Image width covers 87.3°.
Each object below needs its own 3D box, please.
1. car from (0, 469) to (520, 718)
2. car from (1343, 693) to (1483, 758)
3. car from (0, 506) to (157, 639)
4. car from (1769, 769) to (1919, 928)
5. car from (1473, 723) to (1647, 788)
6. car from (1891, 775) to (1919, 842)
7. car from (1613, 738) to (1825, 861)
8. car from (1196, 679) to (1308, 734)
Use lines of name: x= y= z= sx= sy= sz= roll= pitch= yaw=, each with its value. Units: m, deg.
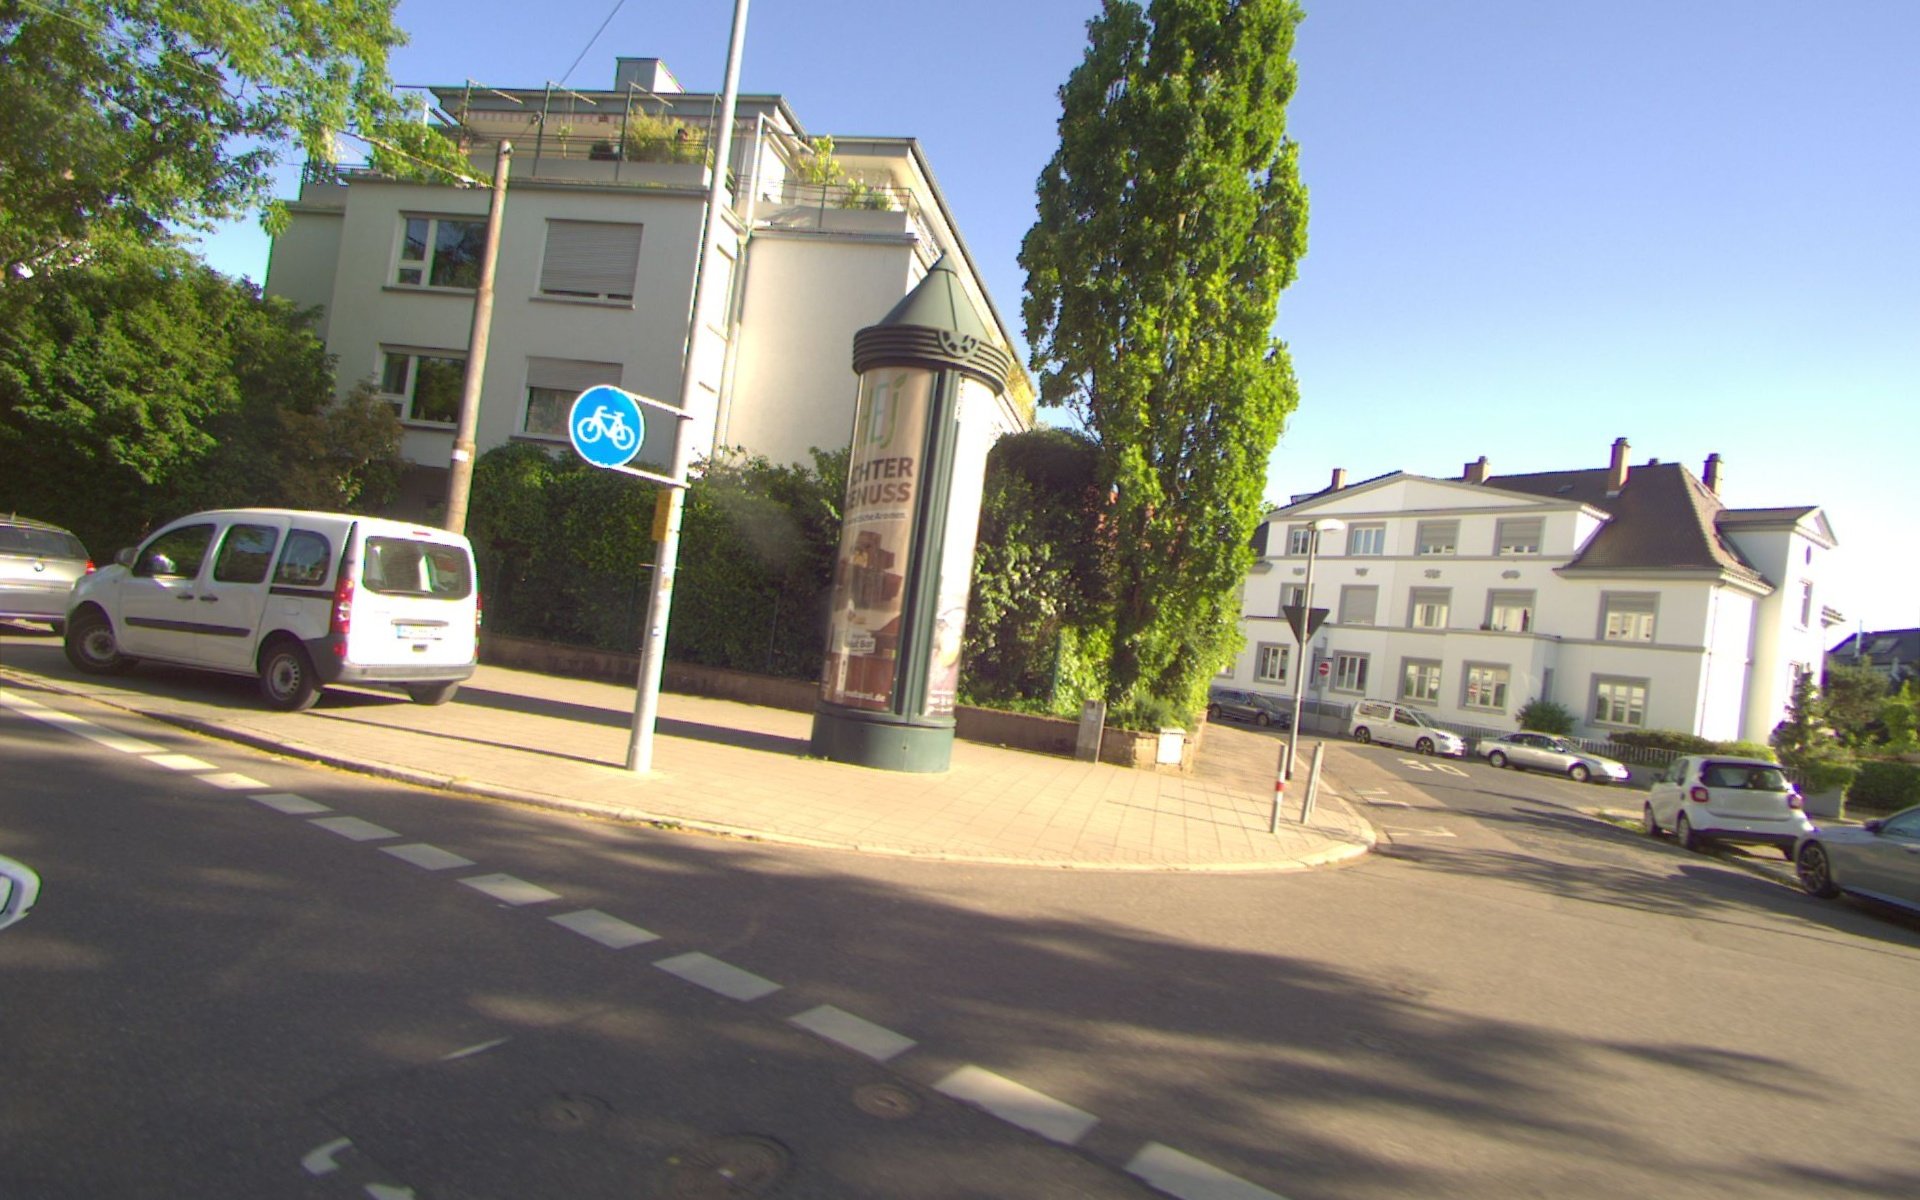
car: x=-7.212 y=-0.079 z=10.259 sx=4.662 sy=1.767 sz=2.031 roll=7 pitch=-1 yaw=18
car: x=17.701 y=4.890 z=39.511 sx=1.981 sy=1.862 sz=4.521 roll=9 pitch=-3 yaw=-32
car: x=-12.645 y=-0.516 z=12.521 sx=4.251 sy=1.439 sz=2.002 roll=6 pitch=-2 yaw=17
car: x=11.007 y=2.837 z=10.731 sx=1.931 sy=1.384 sz=4.531 roll=7 pitch=-3 yaw=15
car: x=20.691 y=5.352 z=34.897 sx=1.981 sy=1.444 sz=4.726 roll=9 pitch=-4 yaw=-32
car: x=25.067 y=5.269 z=23.258 sx=4.665 sy=1.487 sz=2.068 roll=7 pitch=-2 yaw=14
car: x=13.210 y=3.399 z=17.839 sx=1.806 sy=1.527 sz=4.298 roll=4 pitch=-4 yaw=21
car: x=13.344 y=4.860 z=46.272 sx=1.983 sy=1.805 sz=4.561 roll=9 pitch=-3 yaw=-35
